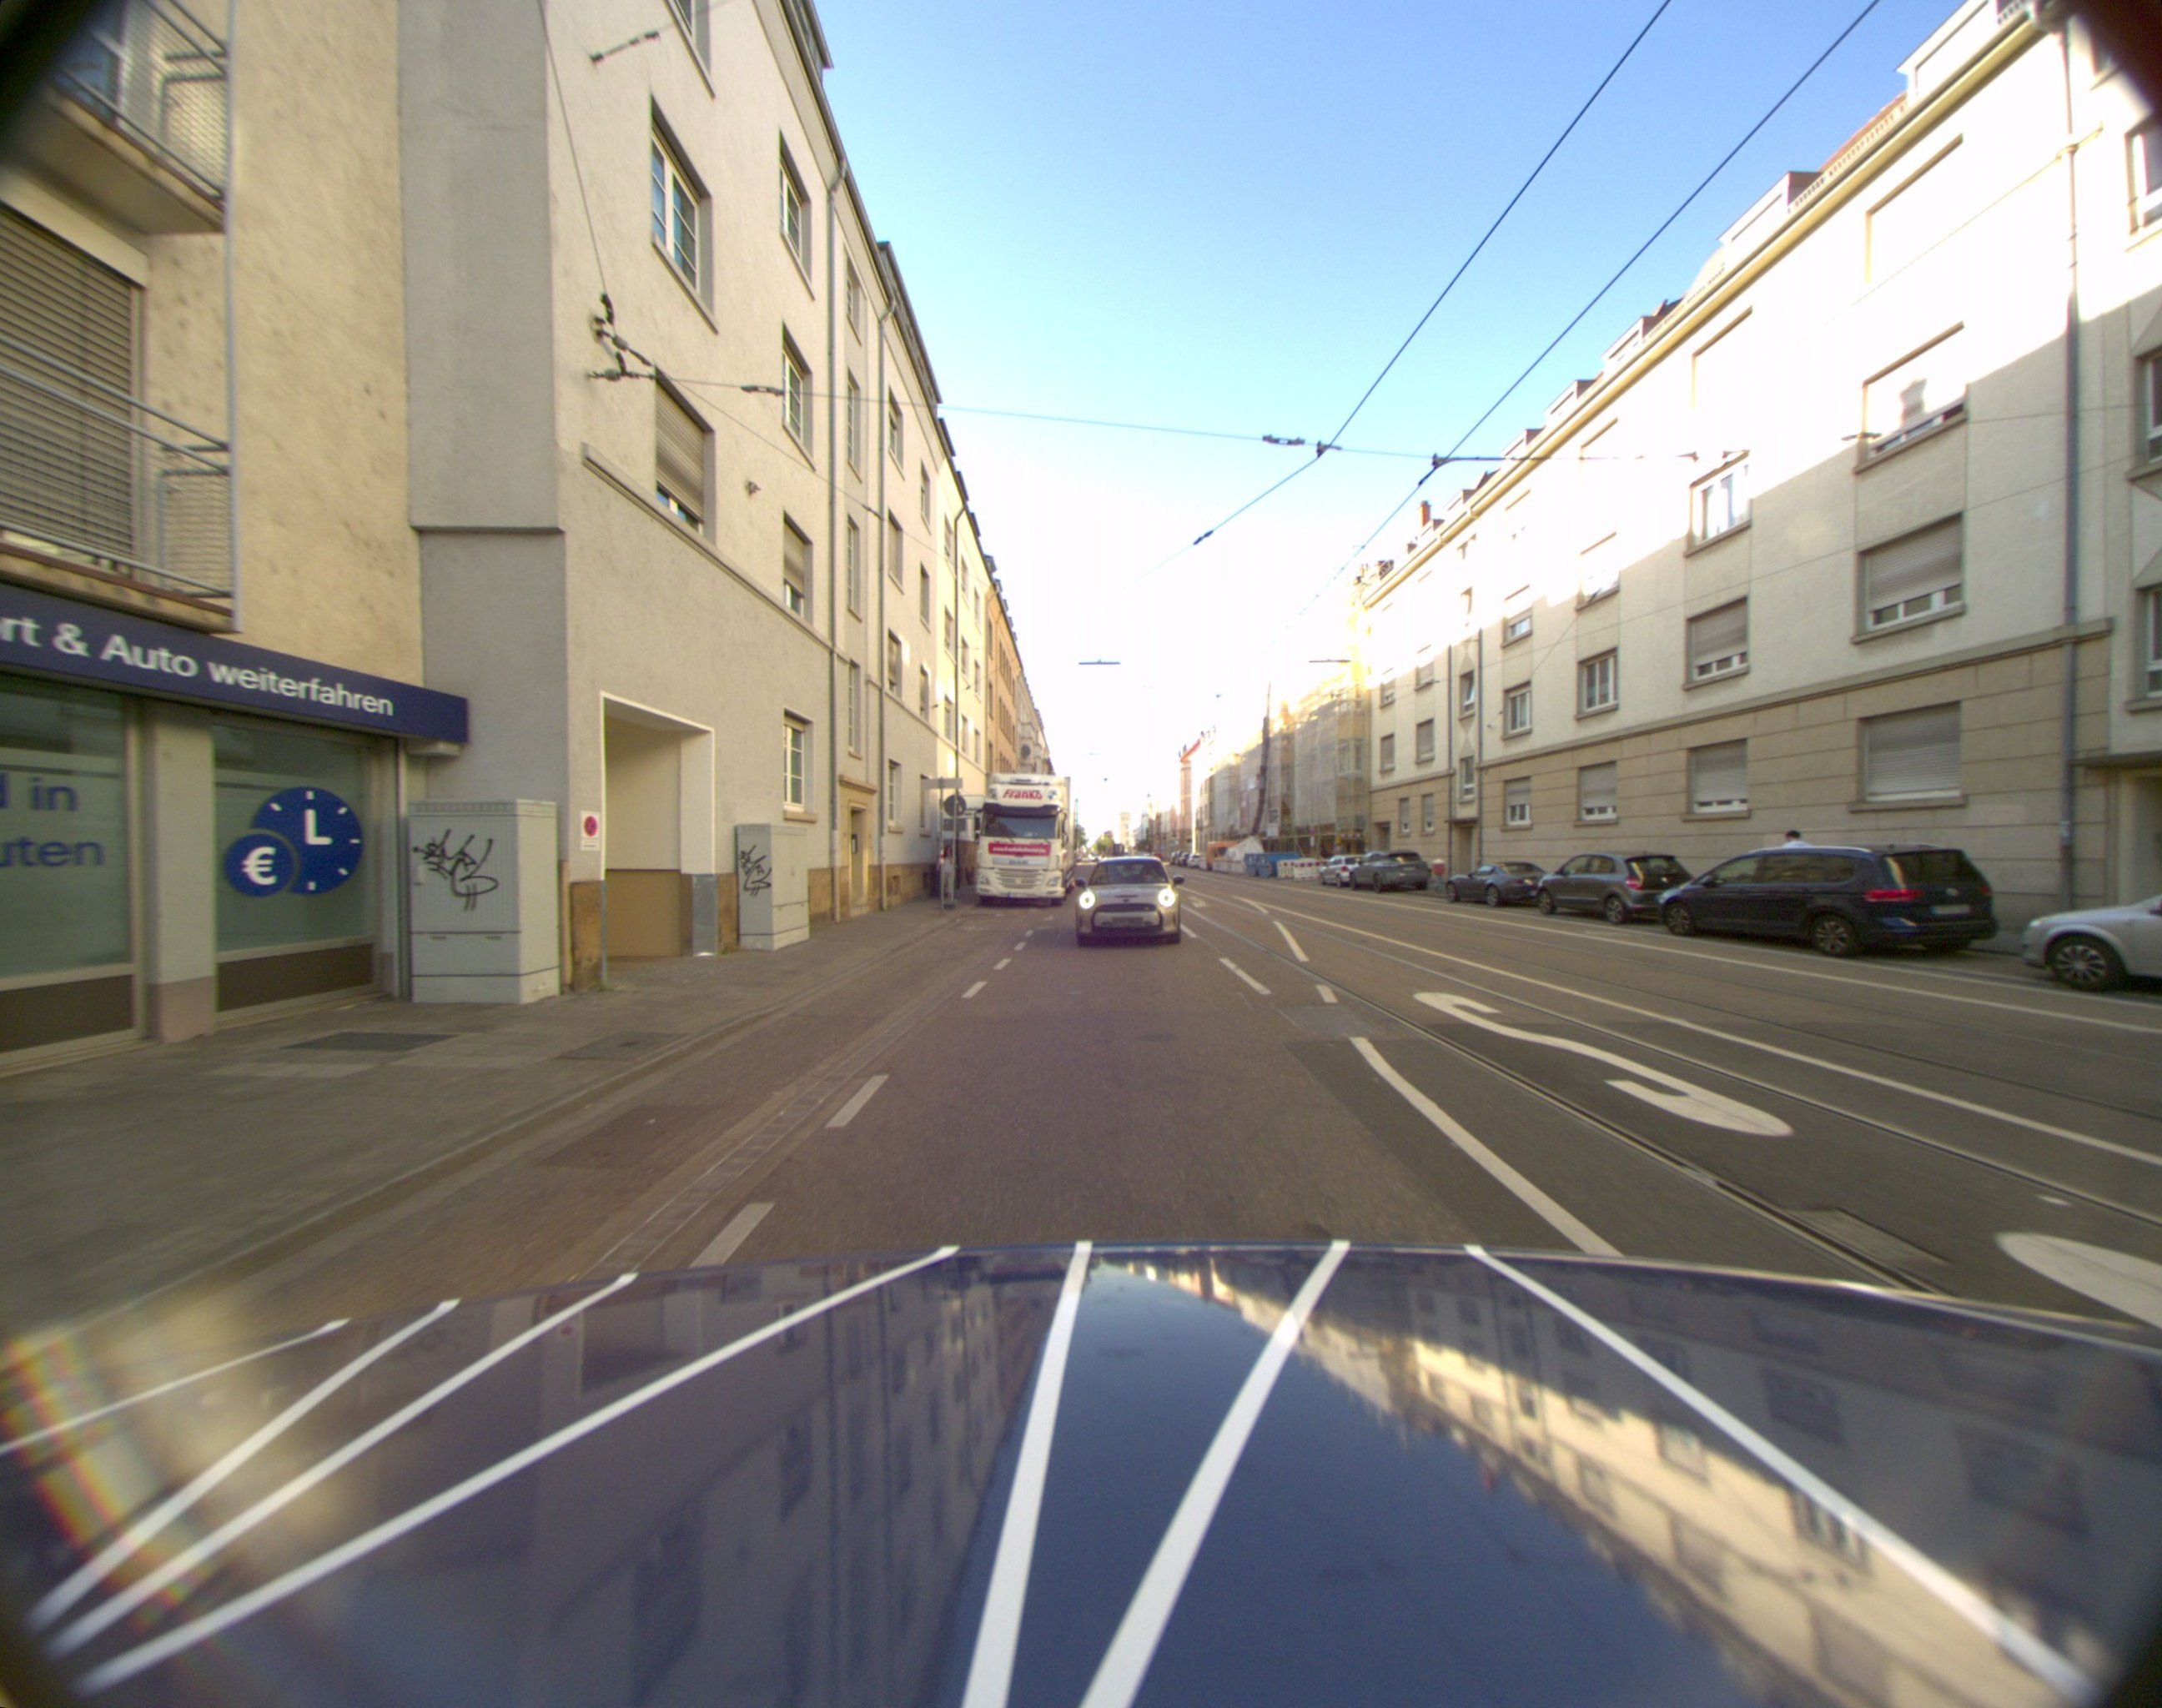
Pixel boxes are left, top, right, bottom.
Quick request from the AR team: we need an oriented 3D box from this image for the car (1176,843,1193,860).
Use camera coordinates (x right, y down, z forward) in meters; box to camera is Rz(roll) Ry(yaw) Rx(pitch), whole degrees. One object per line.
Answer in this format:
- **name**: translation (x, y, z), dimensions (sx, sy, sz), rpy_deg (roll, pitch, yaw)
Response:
- **car**: translation (12.561, -0.334, 92.293), dimensions (1.570, 1.945, 4.184), rpy_deg (-2, 1, 1)

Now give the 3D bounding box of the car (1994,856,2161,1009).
- **car**: translation (11.865, 0.823, 6.943), dimensions (1.729, 1.446, 4.370), rpy_deg (-3, 1, -1)

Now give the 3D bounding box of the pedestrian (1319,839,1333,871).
- **pedestrian**: translation (14.394, 0.049, 44.718), dimensions (0.519, 1.861, 0.763), rpy_deg (-2, 1, 1)

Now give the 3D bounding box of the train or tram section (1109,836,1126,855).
- **train or tram section**: translation (7.153, -1.720, 150.510), dimensions (2.866, 3.542, 13.040), rpy_deg (-1, 1, 0)

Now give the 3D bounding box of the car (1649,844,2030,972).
- **car**: translation (11.813, 0.699, 12.369), dimensions (1.819, 1.624, 4.324), rpy_deg (-3, 1, -1)

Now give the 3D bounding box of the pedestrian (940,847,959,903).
- **pedestrian**: translation (-3.875, 0.617, 22.407), dimensions (0.475, 1.620, 0.467), rpy_deg (0, 2, 2)

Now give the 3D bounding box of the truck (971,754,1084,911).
- **truck**: translation (-1.432, -0.710, 26.429), dimensions (2.699, 4.214, 11.776), rpy_deg (-1, 1, 2)

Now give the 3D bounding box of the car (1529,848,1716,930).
- **car**: translation (11.988, 0.690, 17.133), dimensions (1.643, 1.549, 3.595), rpy_deg (-3, 1, 0)

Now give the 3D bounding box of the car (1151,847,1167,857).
- **car**: translation (13.098, -0.389, 128.399), dimensions (2.231, 1.518, 4.960), rpy_deg (-2, 1, 1)

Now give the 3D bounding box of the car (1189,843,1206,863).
- **car**: translation (12.248, -0.113, 79.985), dimensions (1.657, 1.912, 3.766), rpy_deg (-2, 1, 8)

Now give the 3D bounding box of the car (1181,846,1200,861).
- **car**: translation (12.332, -0.074, 85.867), dimensions (1.570, 1.674, 3.936), rpy_deg (-2, 1, 1)

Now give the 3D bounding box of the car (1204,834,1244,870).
- **car**: translation (11.622, -0.221, 62.216), dimensions (2.215, 2.681, 5.872), rpy_deg (-2, 1, 1)

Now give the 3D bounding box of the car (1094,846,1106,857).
- **car**: translation (3.592, -0.533, 143.717), dimensions (1.999, 1.871, 4.270), rpy_deg (-2, 1, -1)

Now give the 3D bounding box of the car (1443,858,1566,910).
- **car**: translation (11.976, 0.805, 21.757), dimensions (1.476, 1.212, 3.523), rpy_deg (-3, 1, -1)

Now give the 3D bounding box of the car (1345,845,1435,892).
- **car**: translation (12.083, 0.511, 30.034), dimensions (1.751, 1.600, 4.158), rpy_deg (-3, 1, -1)

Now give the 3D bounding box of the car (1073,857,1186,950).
- **car**: translation (0.824, 0.777, 13.578), dimensions (1.727, 1.416, 3.818), rpy_deg (-1, 0, 2)

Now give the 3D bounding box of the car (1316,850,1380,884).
- **car**: translation (12.108, 0.550, 34.653), dimensions (1.564, 1.372, 3.507), rpy_deg (-3, 1, -1)

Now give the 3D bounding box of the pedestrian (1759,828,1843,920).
- **pedestrian**: translation (14.411, 0.386, 15.232), dimensions (0.664, 1.757, 1.005), rpy_deg (-3, 1, -7)
